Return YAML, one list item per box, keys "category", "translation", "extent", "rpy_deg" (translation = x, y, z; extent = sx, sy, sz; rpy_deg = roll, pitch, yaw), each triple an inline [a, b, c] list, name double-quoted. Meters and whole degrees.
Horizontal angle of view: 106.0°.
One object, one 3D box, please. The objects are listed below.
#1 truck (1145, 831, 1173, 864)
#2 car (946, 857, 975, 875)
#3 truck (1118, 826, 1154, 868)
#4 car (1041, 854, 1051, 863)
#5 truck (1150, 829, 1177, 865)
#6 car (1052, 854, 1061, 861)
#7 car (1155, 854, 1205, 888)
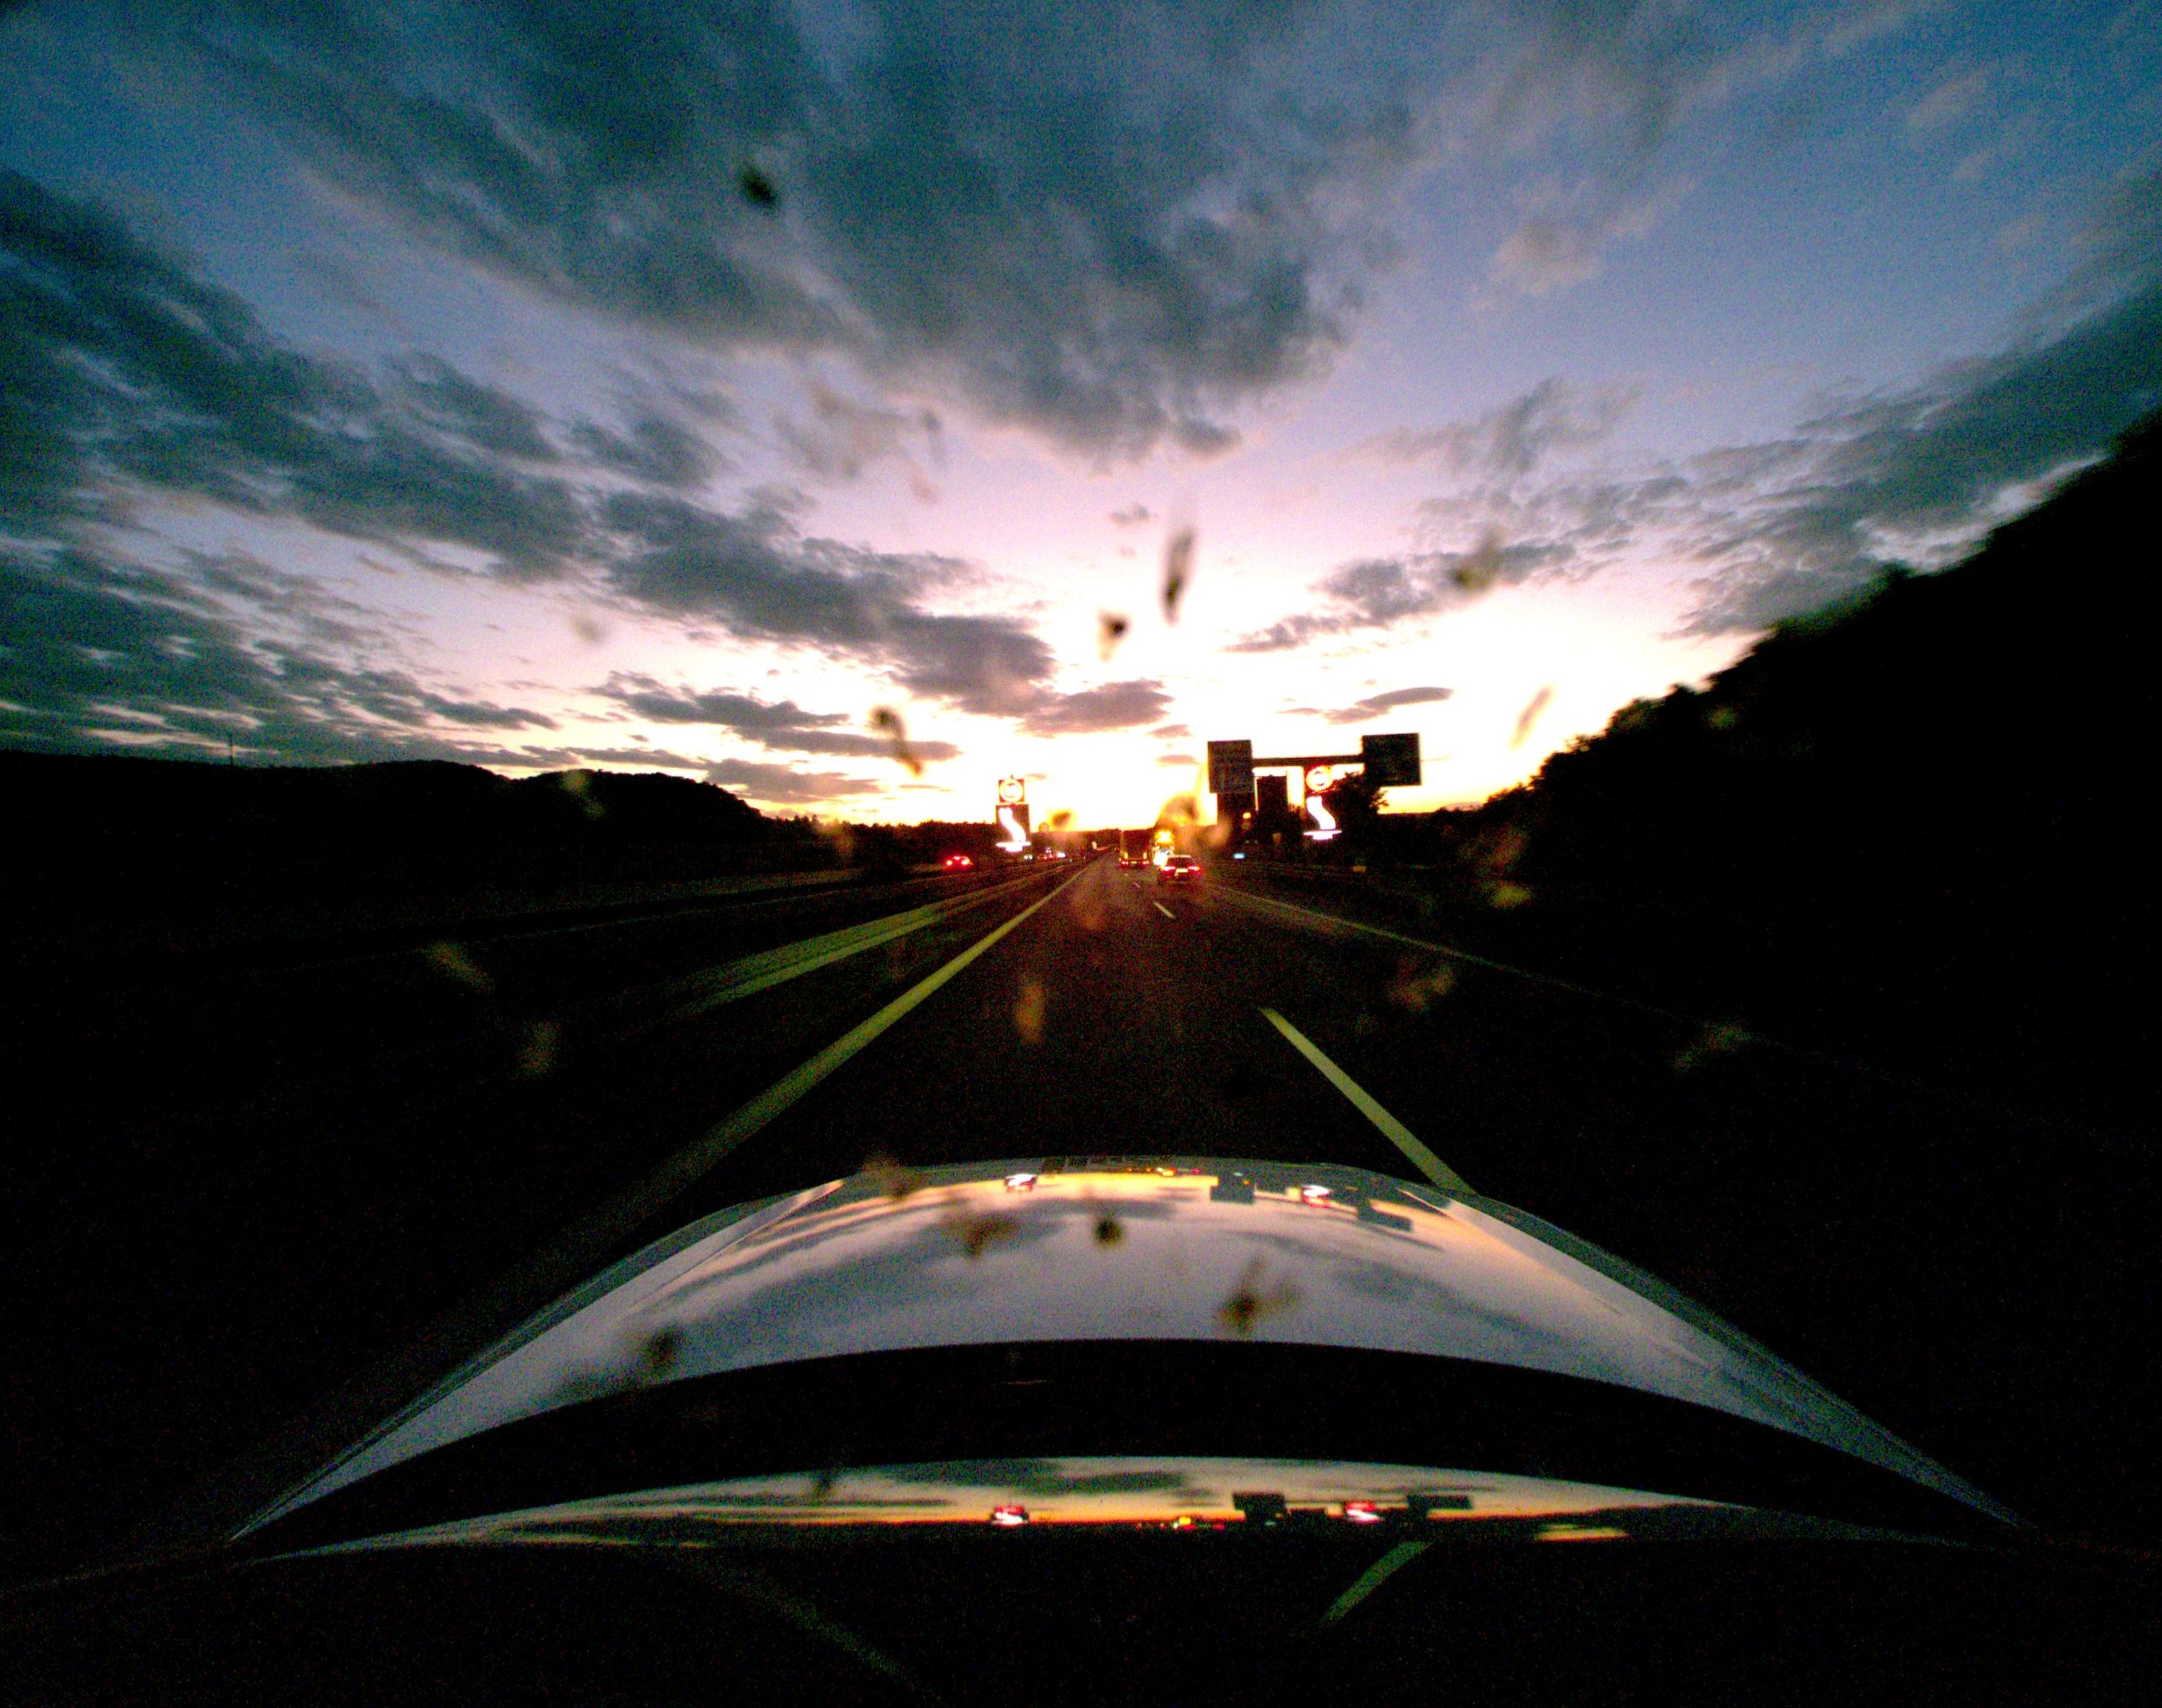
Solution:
- category: "truck"
  translation: [10.113, -0.795, 106.602]
  extent: [2.902, 4.111, 9.153]
  rpy_deg: [-1, 0, 2]
- category: "car"
  translation: [-11.506, 1.122, 78.029]
  extent: [1.865, 1.561, 4.521]
  rpy_deg: [-3, 0, 1]
- category: "truck"
  translation: [6.096, -0.721, 92.527]
  extent: [3.497, 4.301, 9.894]
  rpy_deg: [-3, 0, 1]
- category: "car"
  translation: [-6.913, 0.821, 160.299]
  extent: [1.706, 1.605, 3.723]
  rpy_deg: [-3, 0, 2]
- category: "truck"
  translation: [9.947, -0.823, 98.803]
  extent: [2.777, 4.058, 6.413]
  rpy_deg: [-1, 0, 1]
- category: "car"
  translation: [-5.893, 0.860, 196.218]
  extent: [1.632, 1.546, 3.396]
  rpy_deg: [-3, 0, 2]
- category: "car"
  translation: [4.722, 0.785, 39.440]
  extent: [1.909, 1.442, 4.000]
  rpy_deg: [-3, 0, 0]
